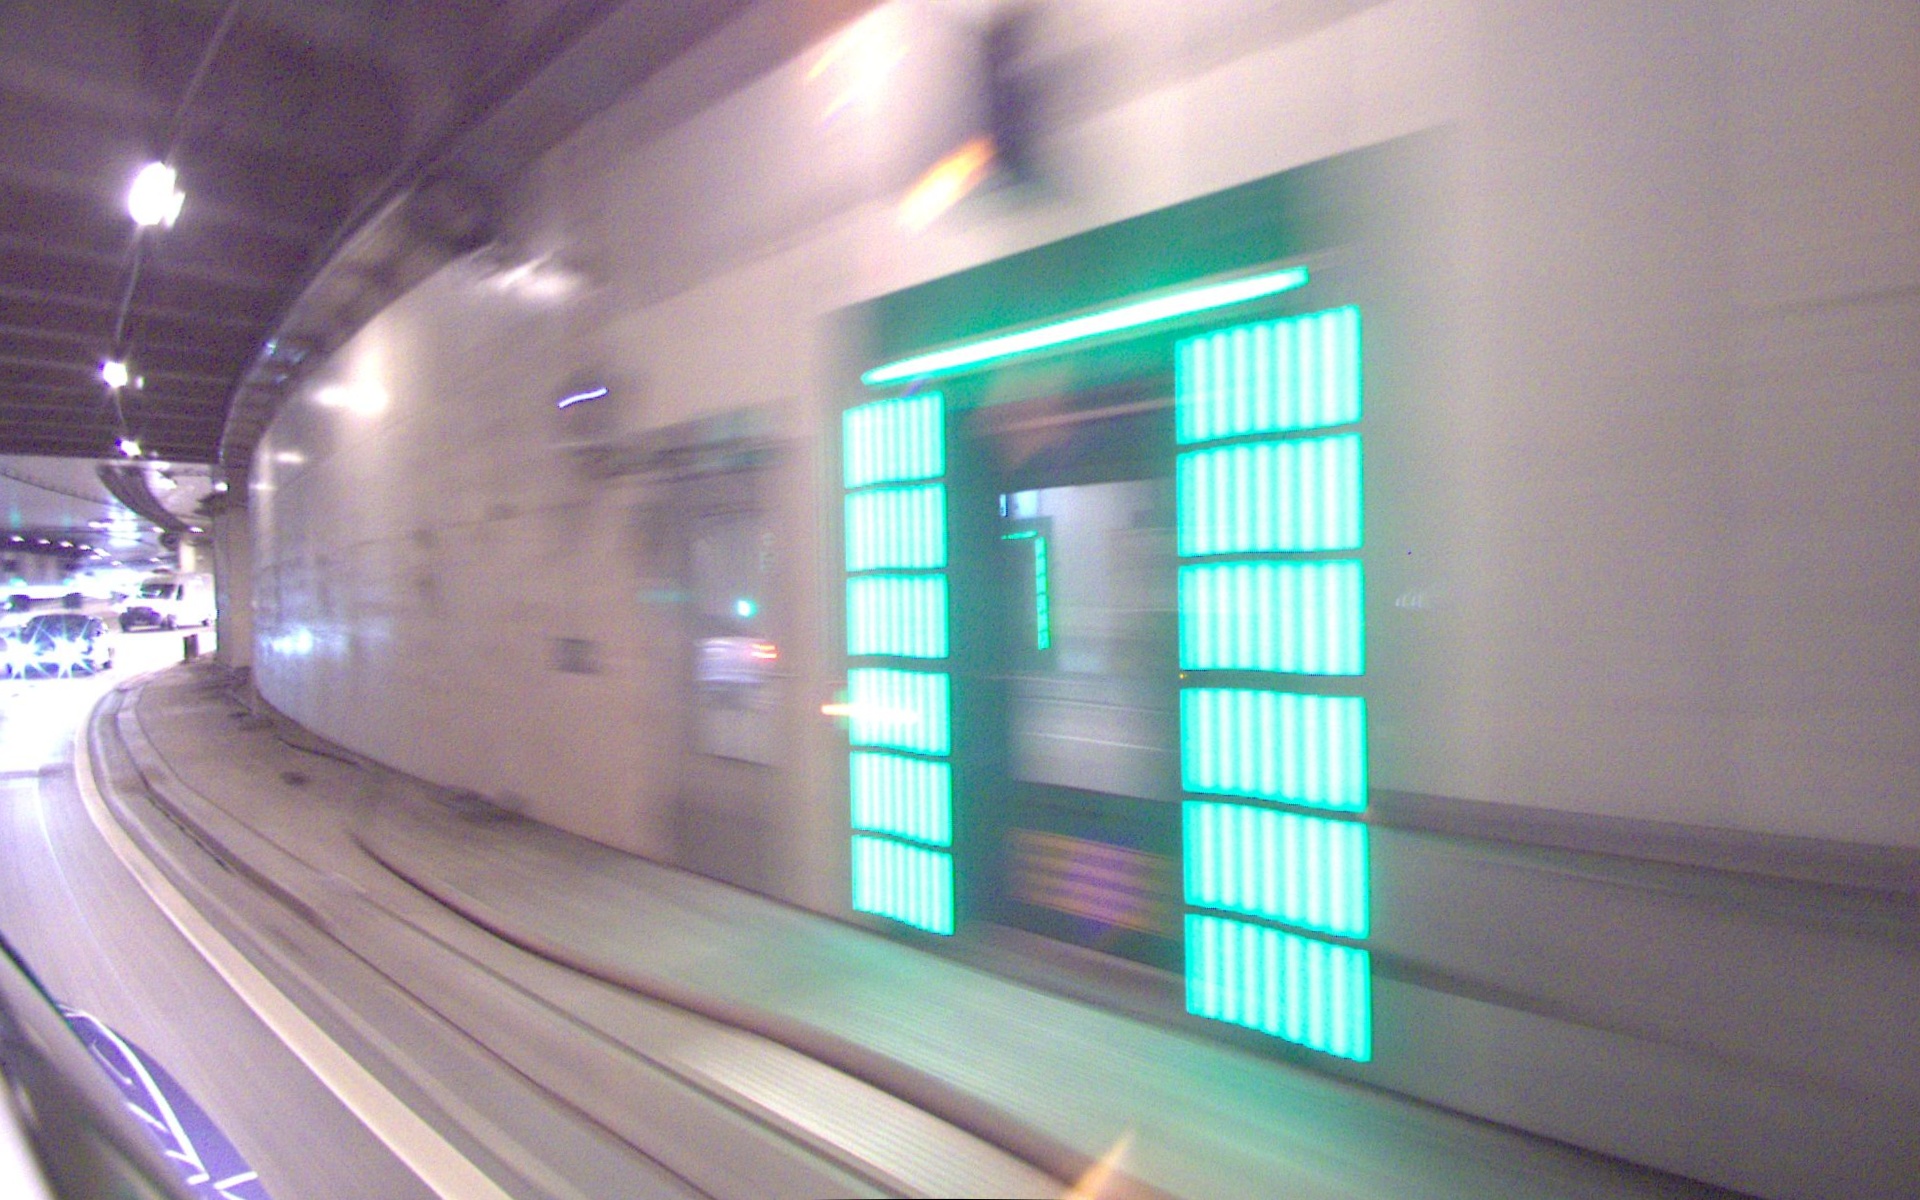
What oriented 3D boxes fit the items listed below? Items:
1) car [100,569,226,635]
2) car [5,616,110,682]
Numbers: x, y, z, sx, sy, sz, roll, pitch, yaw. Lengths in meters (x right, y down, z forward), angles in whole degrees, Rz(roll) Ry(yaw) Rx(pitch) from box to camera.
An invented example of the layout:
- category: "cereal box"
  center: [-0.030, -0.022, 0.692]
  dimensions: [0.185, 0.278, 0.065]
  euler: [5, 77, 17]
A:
- category: "car"
  center: [-37.078, 0.073, 47.373]
  dimensions: [2.517, 2.789, 7.375]
  euler: [-1, 0, -21]
- category: "car"
  center: [-22.832, 1.169, 25.725]
  dimensions: [1.695, 1.475, 4.008]
  euler: [-1, 0, -38]
